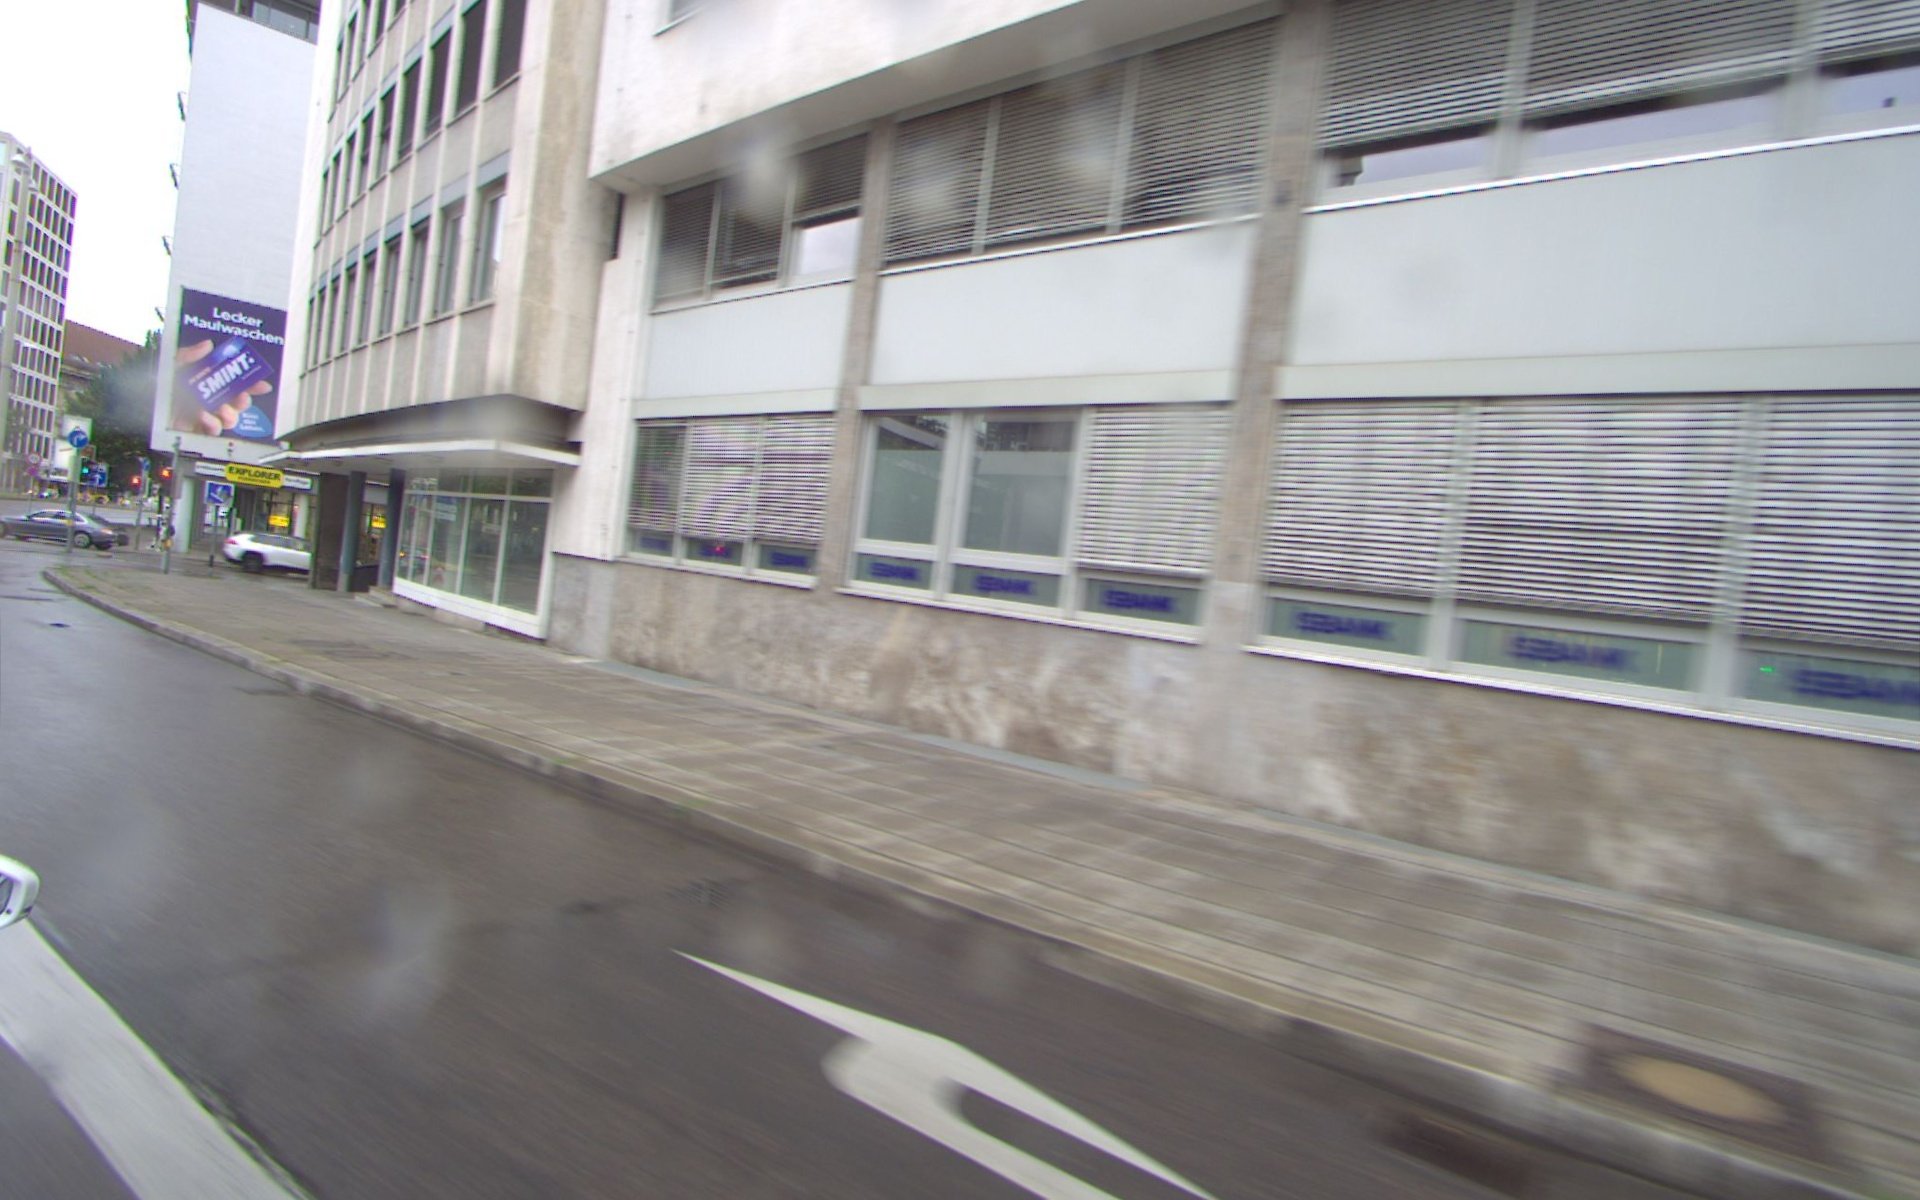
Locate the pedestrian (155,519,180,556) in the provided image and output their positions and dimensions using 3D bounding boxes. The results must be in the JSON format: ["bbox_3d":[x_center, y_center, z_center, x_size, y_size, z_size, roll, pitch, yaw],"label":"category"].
[{"bbox_3d":[-35.693,-2.813,45.299,0.724,1.542,0.751,7,-1,-40],"label":"pedestrian"}]

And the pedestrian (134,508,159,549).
[{"bbox_3d":[-36.232,-3.175,44.796,0.724,1.688,0.683,7,-1,-40],"label":"pedestrian"}]

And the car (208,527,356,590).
[{"bbox_3d":[-26.874,-1.633,40.085,4.478,1.770,1.987,8,-1,-27],"label":"car"}]

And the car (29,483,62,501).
[{"bbox_3d":[-112.467,-13.279,123.715,1.979,1.726,3.969,9,0,-29],"label":"car"}]

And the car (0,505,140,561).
[{"bbox_3d":[-36.761,-2.746,41.237,4.296,1.527,1.909,9,-2,-19],"label":"car"}]
